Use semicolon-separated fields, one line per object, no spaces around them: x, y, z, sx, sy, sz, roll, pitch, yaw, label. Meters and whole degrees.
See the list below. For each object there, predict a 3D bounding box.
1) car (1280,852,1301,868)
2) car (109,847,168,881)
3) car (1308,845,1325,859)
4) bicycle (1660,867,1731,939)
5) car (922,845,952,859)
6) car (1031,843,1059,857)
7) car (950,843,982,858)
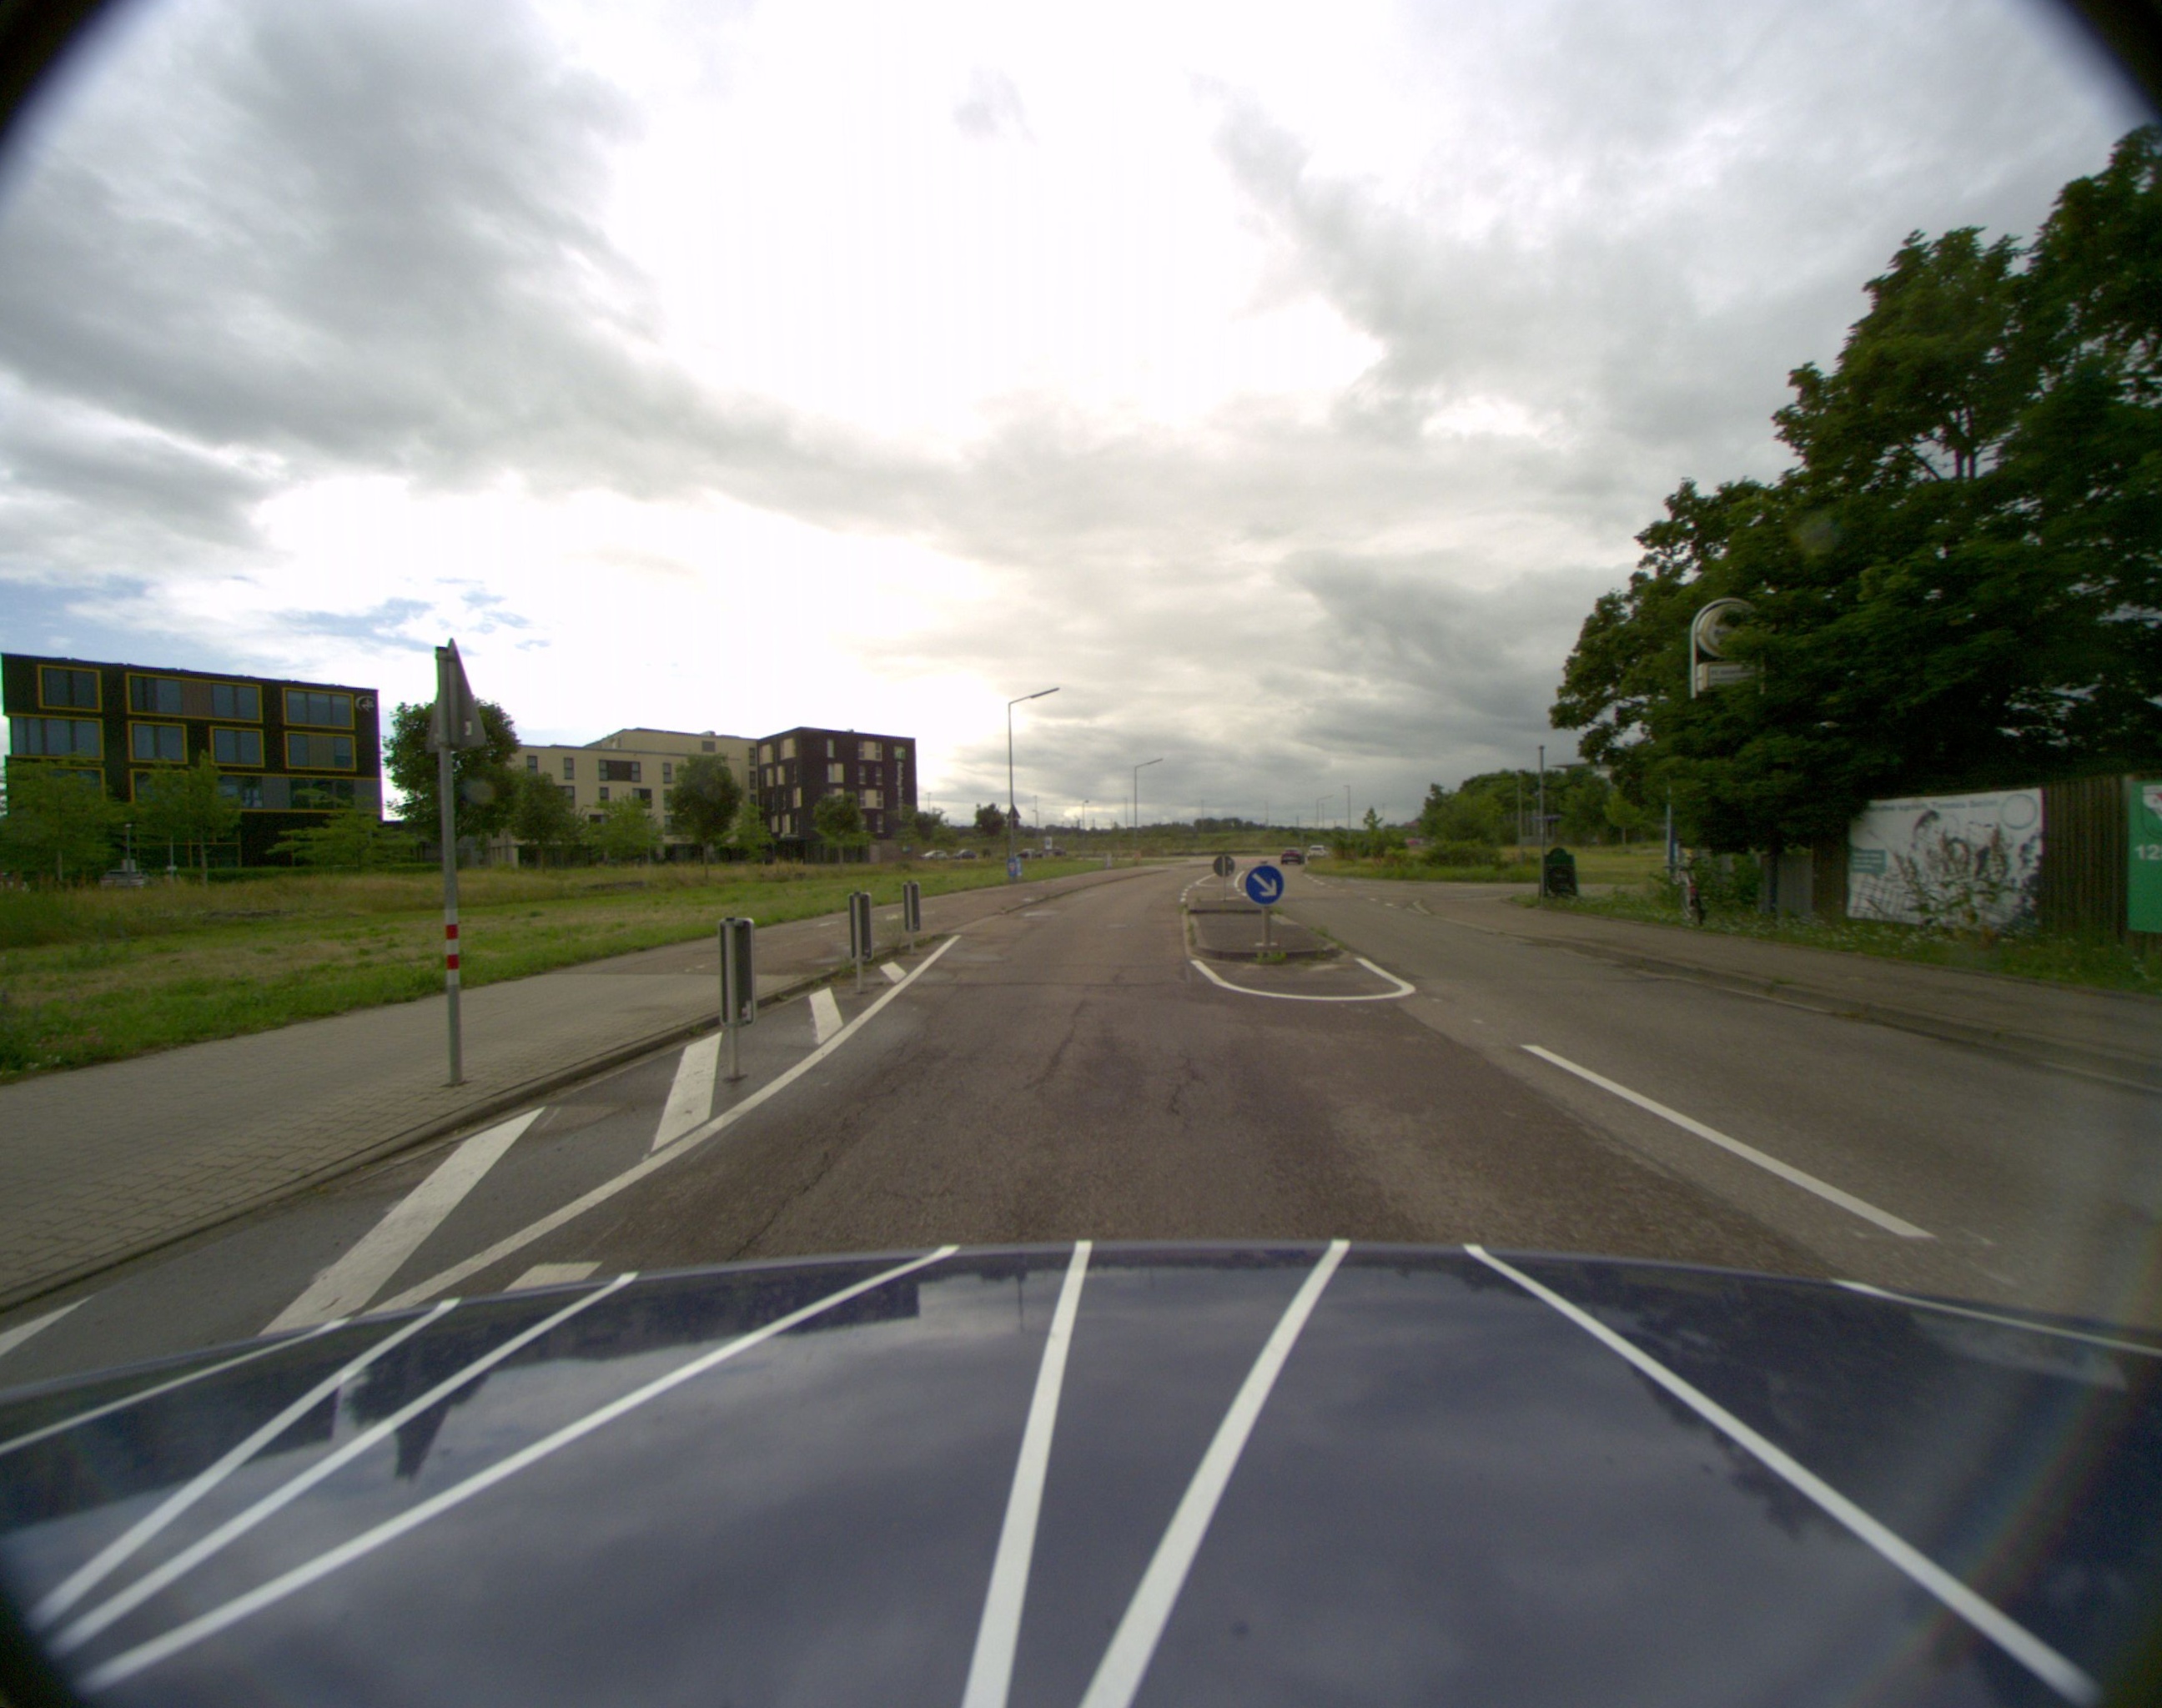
19.690;0.540;71.410;1.741;1.444;4.003;-1;1;13;car
-58.723;0.616;47.413;3.988;2.002;2.004;0;1;42;car
26.193;-0.232;84.488;1.840;1.527;4.005;-1;1;18;car
9.878;0.761;12.258;0.582;0.993;1.773;-3;1;30;bicycle
-21.731;-0.342;114.724;1.994;2.002;4.008;0;1;44;car
-5.532;-0.628;116.478;1.994;2.002;4.008;0;1;44;car
-16.553;-0.526;109.381;1.994;2.002;4.008;0;1;44;car
